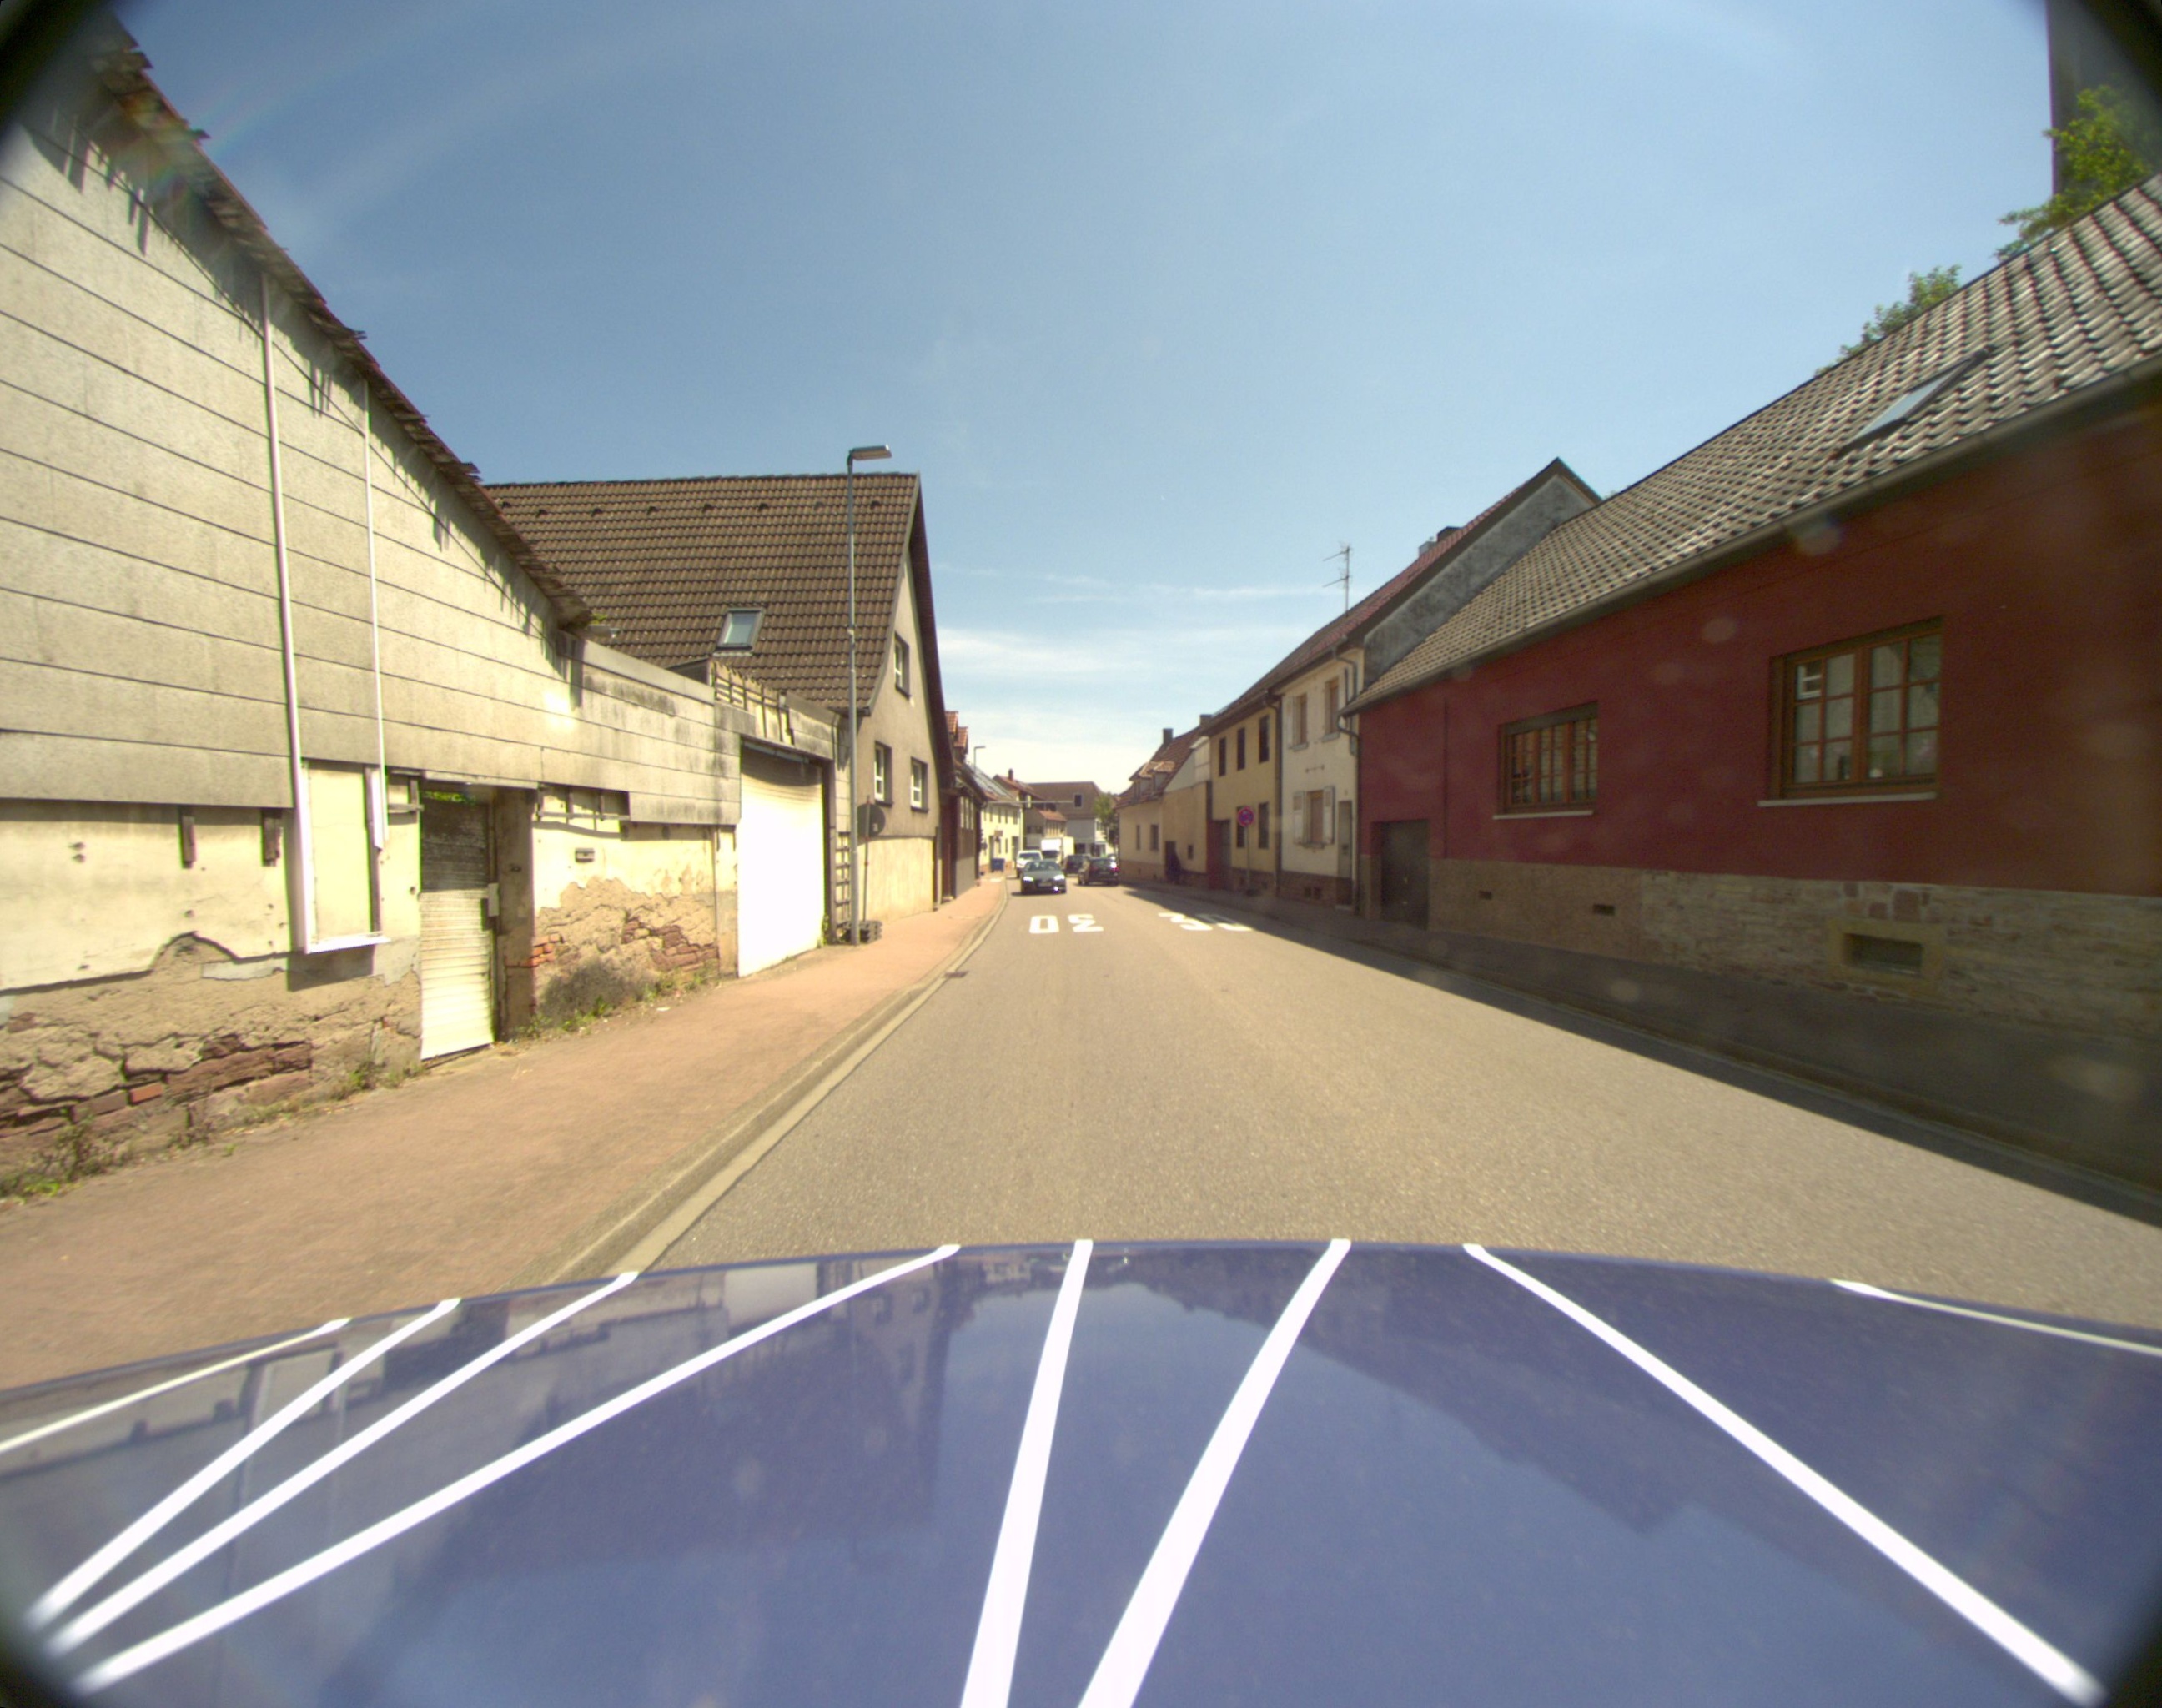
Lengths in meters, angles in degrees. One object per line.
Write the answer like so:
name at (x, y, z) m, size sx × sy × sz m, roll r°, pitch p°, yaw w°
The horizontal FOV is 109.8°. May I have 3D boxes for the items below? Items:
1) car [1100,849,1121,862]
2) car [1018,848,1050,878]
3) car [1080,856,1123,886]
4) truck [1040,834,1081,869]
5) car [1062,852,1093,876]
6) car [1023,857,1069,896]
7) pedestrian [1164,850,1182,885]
car at (4.228, 0.192, 109.442) m, size 1.996 × 1.609 × 4.004 m, roll -2°, pitch 1°, yaw 17°
car at (-3.394, 0.584, 54.279) m, size 2.080 × 1.949 × 5.514 m, roll -1°, pitch 1°, yaw -5°
car at (1.019, 0.832, 39.047) m, size 1.700 × 1.401 × 4.197 m, roll 0°, pitch 0°, yaw -5°
truck at (-2.147, -0.390, 82.142) m, size 2.865 × 3.492 × 8.324 m, roll 1°, pitch 2°, yaw 9°
car at (-0.276, 0.674, 54.798) m, size 1.817 × 1.600 × 4.334 m, roll 1°, pitch 0°, yaw -5°
car at (-1.481, 0.883, 31.447) m, size 1.787 × 1.365 × 3.604 m, roll -1°, pitch 1°, yaw -4°
pedestrian at (4.214, 0.602, 35.005) m, size 0.663 × 1.555 × 0.754 m, roll -1°, pitch 2°, yaw -4°
